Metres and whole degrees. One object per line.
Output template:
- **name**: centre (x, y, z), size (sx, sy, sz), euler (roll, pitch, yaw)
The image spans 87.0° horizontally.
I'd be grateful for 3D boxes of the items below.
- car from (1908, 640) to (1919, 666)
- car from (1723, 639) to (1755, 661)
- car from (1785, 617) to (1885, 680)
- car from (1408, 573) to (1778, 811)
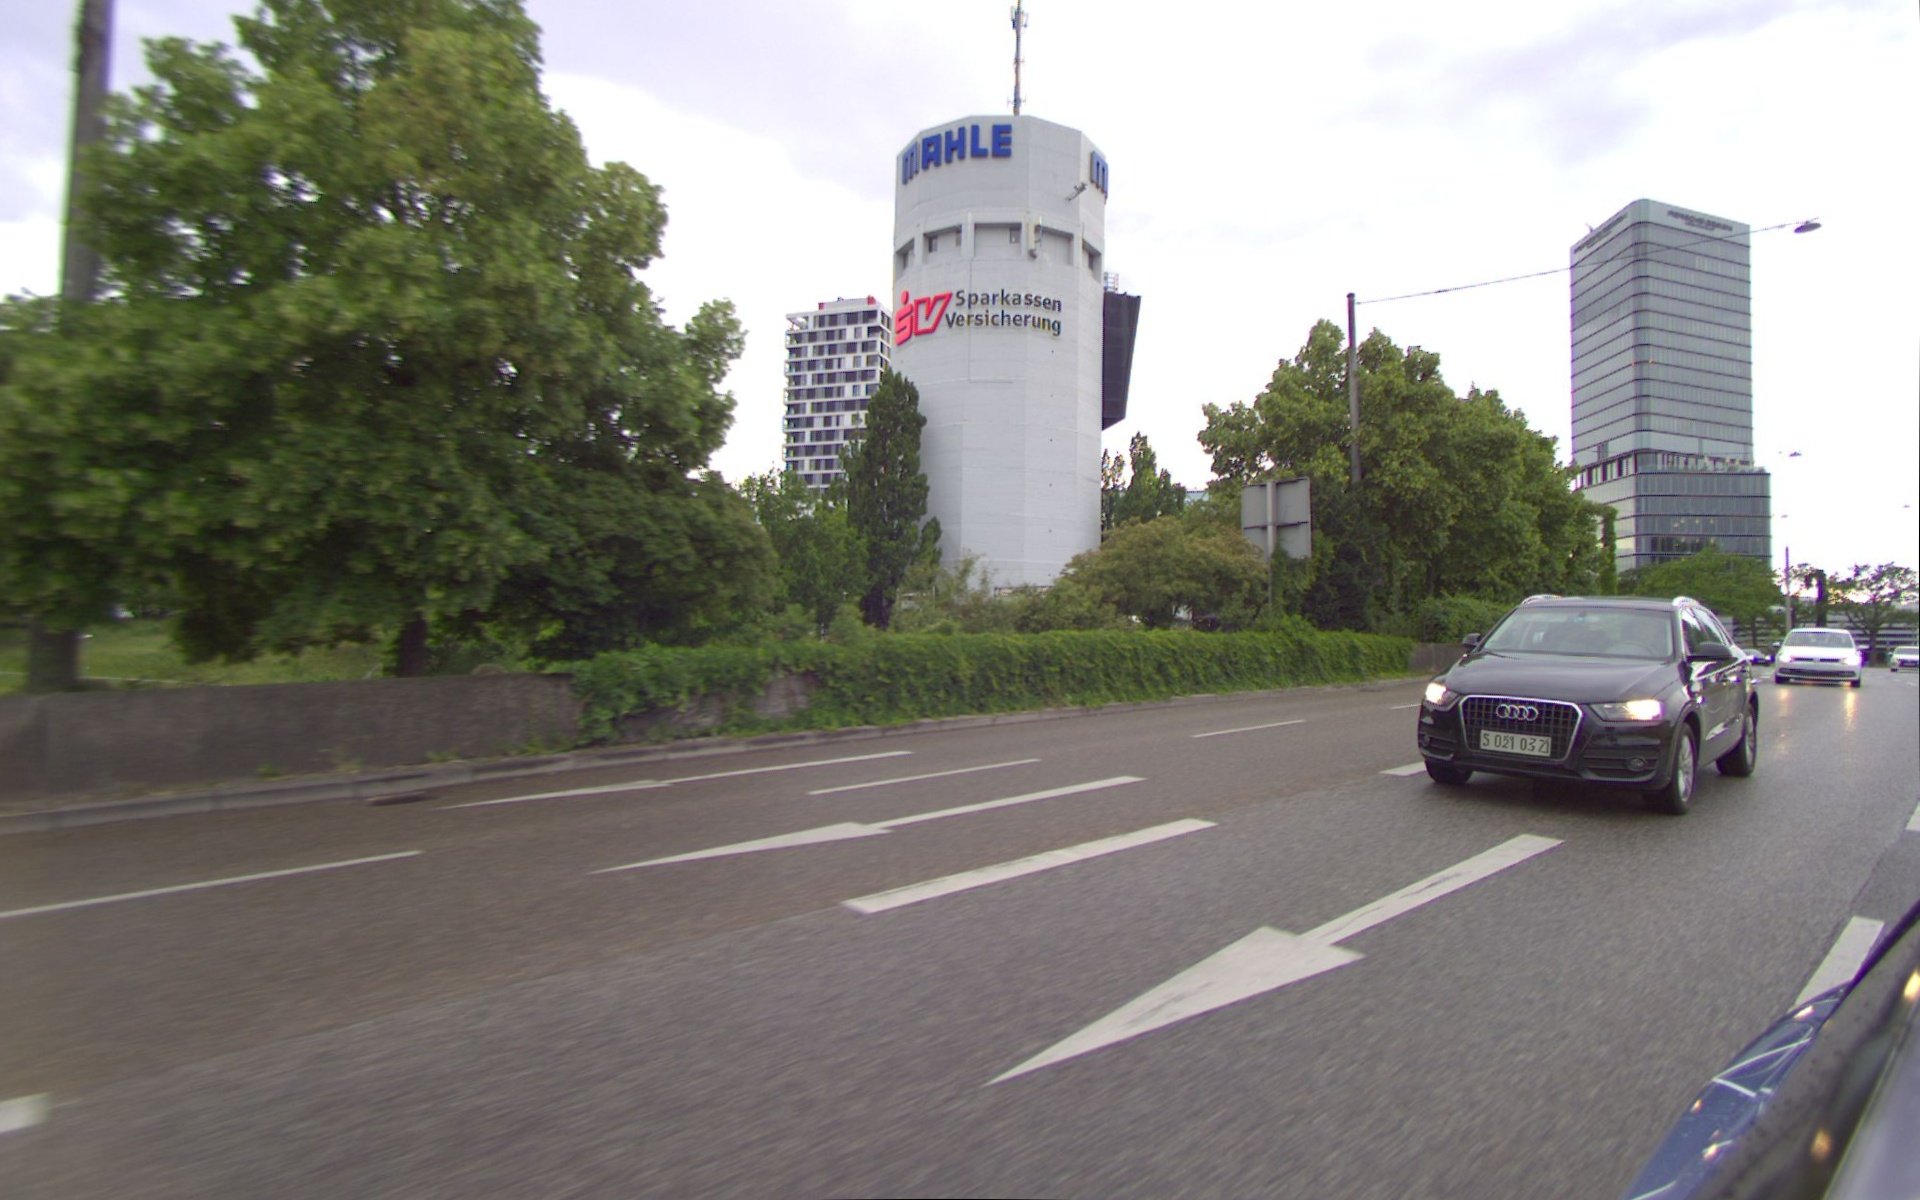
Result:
- **car**: centre (55.110, 3.008, 57.641), size (1.539, 1.448, 3.746), euler (-1, -3, 44)
- **car**: centre (56.557, 3.603, 73.458), size (1.629, 1.495, 3.622), euler (-1, -3, 40)
- **car**: centre (22.529, 1.248, 26.001), size (1.724, 1.492, 4.196), euler (-3, -4, 43)
- **car**: centre (5.557, 0.622, 8.664), size (4.058, 1.553, 1.726), euler (0, -2, -44)
